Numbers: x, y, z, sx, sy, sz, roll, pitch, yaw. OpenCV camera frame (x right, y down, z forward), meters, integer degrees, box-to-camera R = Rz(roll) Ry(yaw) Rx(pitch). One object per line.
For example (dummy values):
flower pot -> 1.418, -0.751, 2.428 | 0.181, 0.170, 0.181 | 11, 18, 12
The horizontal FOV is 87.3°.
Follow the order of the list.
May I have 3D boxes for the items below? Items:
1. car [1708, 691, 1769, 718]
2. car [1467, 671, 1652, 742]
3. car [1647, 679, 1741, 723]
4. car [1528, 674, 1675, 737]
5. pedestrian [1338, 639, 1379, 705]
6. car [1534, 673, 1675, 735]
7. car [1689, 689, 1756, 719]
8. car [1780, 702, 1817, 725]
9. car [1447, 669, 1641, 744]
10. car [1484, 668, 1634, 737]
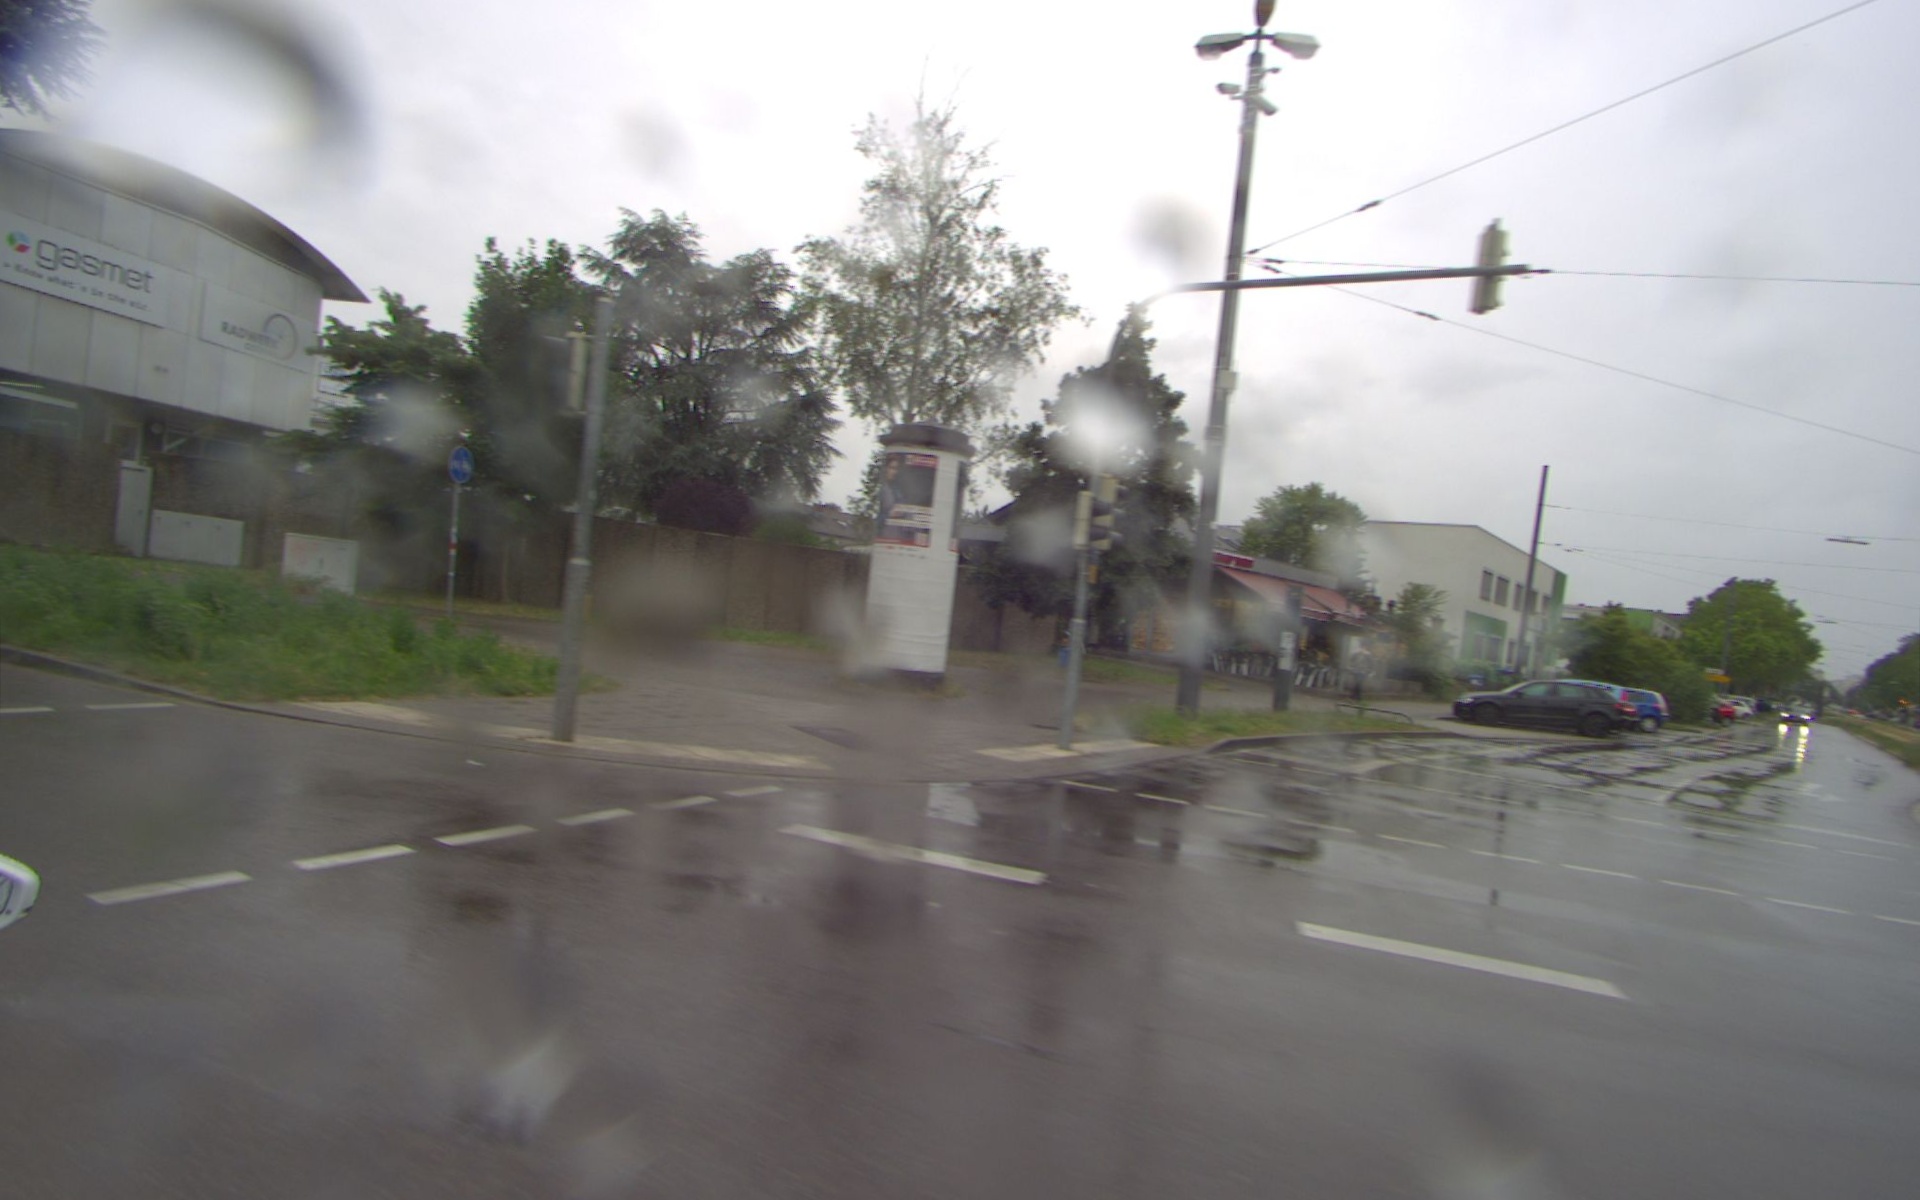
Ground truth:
car -> 74.139, 9.922, 95.836 | 3.924, 1.781, 2.010 | 9, 1, 13
car -> 17.610, 3.084, 29.829 | 4.431, 1.436, 1.857 | 6, 0, 25
car -> 43.424, 5.955, 59.632 | 3.928, 1.887, 1.998 | 9, 1, 25
car -> 23.286, 3.803, 36.664 | 3.924, 1.601, 1.930 | 7, 1, 13
pedestrian -> 11.852, 2.121, 29.920 | 0.713, 1.821, 0.886 | 9, 3, 10
car -> 25.052, 4.021, 39.267 | 4.043, 1.661, 1.930 | 7, 1, 10
car -> 61.766, 8.410, 81.557 | 3.715, 1.724, 1.837 | 9, 1, 14
car -> 74.808, 10.142, 89.707 | 3.975, 1.682, 1.873 | 8, 1, -43
car -> 16.116, 2.895, 28.068 | 4.412, 1.436, 1.857 | 6, 0, 25
car -> 19.465, 3.292, 32.900 | 3.931, 1.602, 1.856 | 7, 1, 29
